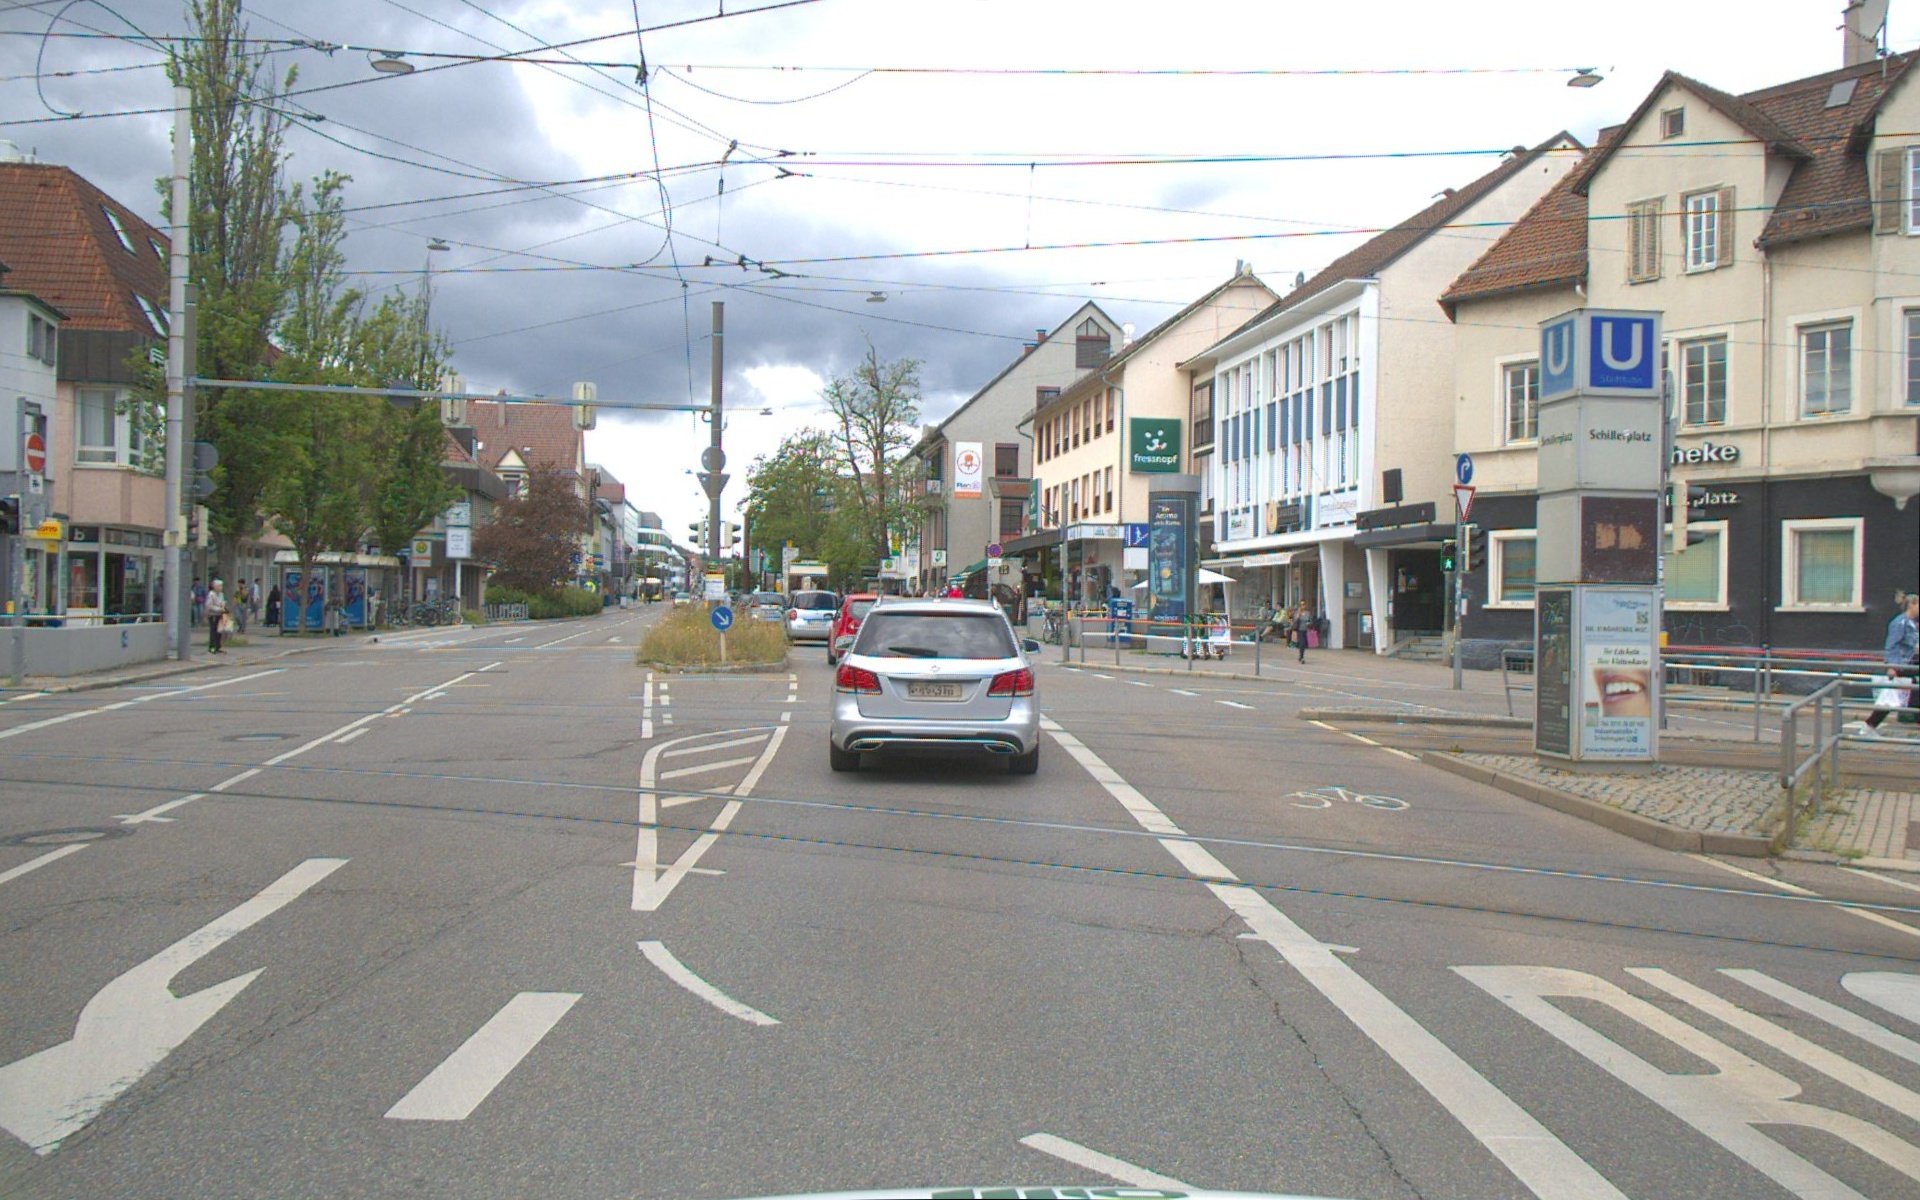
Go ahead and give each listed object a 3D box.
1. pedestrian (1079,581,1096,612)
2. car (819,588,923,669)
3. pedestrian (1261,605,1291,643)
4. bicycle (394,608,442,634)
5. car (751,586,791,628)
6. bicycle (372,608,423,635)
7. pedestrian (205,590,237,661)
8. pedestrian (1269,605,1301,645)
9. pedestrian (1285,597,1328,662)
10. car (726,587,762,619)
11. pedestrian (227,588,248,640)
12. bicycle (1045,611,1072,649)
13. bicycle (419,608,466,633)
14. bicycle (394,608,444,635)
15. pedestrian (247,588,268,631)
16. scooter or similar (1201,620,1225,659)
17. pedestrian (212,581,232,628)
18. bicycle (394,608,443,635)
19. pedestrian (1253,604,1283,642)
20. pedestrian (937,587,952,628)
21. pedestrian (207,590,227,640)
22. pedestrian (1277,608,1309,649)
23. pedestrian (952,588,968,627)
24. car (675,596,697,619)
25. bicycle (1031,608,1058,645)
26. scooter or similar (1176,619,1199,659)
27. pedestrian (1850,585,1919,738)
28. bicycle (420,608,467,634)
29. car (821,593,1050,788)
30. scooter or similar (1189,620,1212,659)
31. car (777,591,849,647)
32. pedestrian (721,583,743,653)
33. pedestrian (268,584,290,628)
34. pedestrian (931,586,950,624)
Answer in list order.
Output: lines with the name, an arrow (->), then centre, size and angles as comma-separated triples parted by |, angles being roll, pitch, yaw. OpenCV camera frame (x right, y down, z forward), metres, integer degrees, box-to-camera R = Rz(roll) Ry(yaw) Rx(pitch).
pedestrian -> 5.148, -0.136, 66.837 | 0.523, 1.240, 0.578 | 2, -1, -11
car -> -1.862, 0.526, 33.519 | 1.702, 1.534, 3.992 | 0, 0, -9
pedestrian -> 9.980, 0.753, 52.247 | 0.723, 1.184, 0.641 | 2, -1, -11
bicycle -> -22.849, 0.894, 69.722 | 1.908, 1.047, 0.527 | 2, -1, -19
car -> -8.314, 0.286, 72.658 | 1.701, 1.790, 3.994 | 0, 0, -7
bicycle -> -23.015, 0.879, 67.687 | 1.908, 1.047, 0.527 | 2, -1, -19
pedestrian -> -17.115, 0.585, 38.315 | 0.624, 1.634, 0.700 | 1, 0, -21
pedestrian -> 9.787, 0.757, 49.788 | 0.723, 1.184, 0.641 | 2, -1, -11
pedestrian -> 8.818, 0.755, 42.135 | 0.633, 1.619, 0.890 | 2, -1, -28
car -> -12.631, 0.176, 96.610 | 1.956, 1.780, 3.992 | 1, 0, -9
pedestrian -> -22.936, 0.431, 52.535 | 0.569, 1.634, 0.640 | 1, 0, -21
bicycle -> 3.021, 0.915, 50.867 | 0.439, 1.127, 2.145 | 0, 0, -7
bicycle -> -22.689, 0.913, 72.506 | 1.908, 1.047, 0.527 | 2, -1, -19
bicycle -> -22.410, 0.901, 68.525 | 1.908, 1.047, 0.527 | 2, -1, -19
pedestrian -> -26.818, 0.353, 63.122 | 0.694, 1.634, 0.574 | 1, 0, -29
scooter or similar -> 6.756, 1.055, 44.181 | 0.266, 1.019, 1.026 | 0, 0, -12
pedestrian -> -26.011, 0.148, 58.302 | 0.569, 1.634, 0.640 | 1, 0, -21
bicycle -> -22.638, 0.897, 69.156 | 1.908, 1.047, 0.527 | 2, -1, -19
pedestrian -> 9.851, 0.734, 52.891 | 0.723, 1.184, 0.641 | 2, -1, -11
pedestrian -> -0.665, 0.313, 69.014 | 0.566, 1.695, 0.651 | 2, -1, -2
pedestrian -> -24.488, 0.498, 54.509 | 0.569, 1.634, 0.640 | 1, 0, -21
pedestrian -> 9.896, 0.845, 49.142 | 0.723, 1.184, 0.641 | 2, -1, -11
pedestrian -> -0.002, 0.296, 65.400 | 0.566, 1.495, 0.650 | 2, -1, -6
car -> -25.739, 0.701, 155.066 | 1.957, 2.049, 3.990 | 1, 0, -10
bicycle -> 2.585, 0.810, 50.801 | 0.439, 1.110, 2.145 | 0, 0, -7
scooter or similar -> 6.058, 1.032, 44.004 | 0.266, 1.019, 1.026 | 0, 0, -12
pedestrian -> 11.013, 0.704, 19.315 | 0.826, 1.748, 0.725 | 0, 0, -12
bicycle -> -22.351, 0.918, 71.575 | 1.908, 1.047, 0.527 | 2, -1, -19
car -> -0.183, 0.713, 15.227 | 1.808, 1.534, 4.171 | 0, 0, 0
scooter or similar -> 6.407, 1.040, 44.096 | 0.266, 1.019, 1.026 | 0, 0, -12
car -> -4.266, 0.515, 47.514 | 1.703, 1.534, 3.990 | 0, 0, -10
pedestrian -> -5.842, 0.456, 42.320 | 0.523, 1.794, 0.578 | 0, 0, -10
pedestrian -> -25.077, 0.224, 60.898 | 0.694, 1.634, 0.574 | 1, 0, -29
pedestrian -> -0.749, 0.196, 63.843 | 0.568, 1.460, 0.648 | 2, -1, -15
